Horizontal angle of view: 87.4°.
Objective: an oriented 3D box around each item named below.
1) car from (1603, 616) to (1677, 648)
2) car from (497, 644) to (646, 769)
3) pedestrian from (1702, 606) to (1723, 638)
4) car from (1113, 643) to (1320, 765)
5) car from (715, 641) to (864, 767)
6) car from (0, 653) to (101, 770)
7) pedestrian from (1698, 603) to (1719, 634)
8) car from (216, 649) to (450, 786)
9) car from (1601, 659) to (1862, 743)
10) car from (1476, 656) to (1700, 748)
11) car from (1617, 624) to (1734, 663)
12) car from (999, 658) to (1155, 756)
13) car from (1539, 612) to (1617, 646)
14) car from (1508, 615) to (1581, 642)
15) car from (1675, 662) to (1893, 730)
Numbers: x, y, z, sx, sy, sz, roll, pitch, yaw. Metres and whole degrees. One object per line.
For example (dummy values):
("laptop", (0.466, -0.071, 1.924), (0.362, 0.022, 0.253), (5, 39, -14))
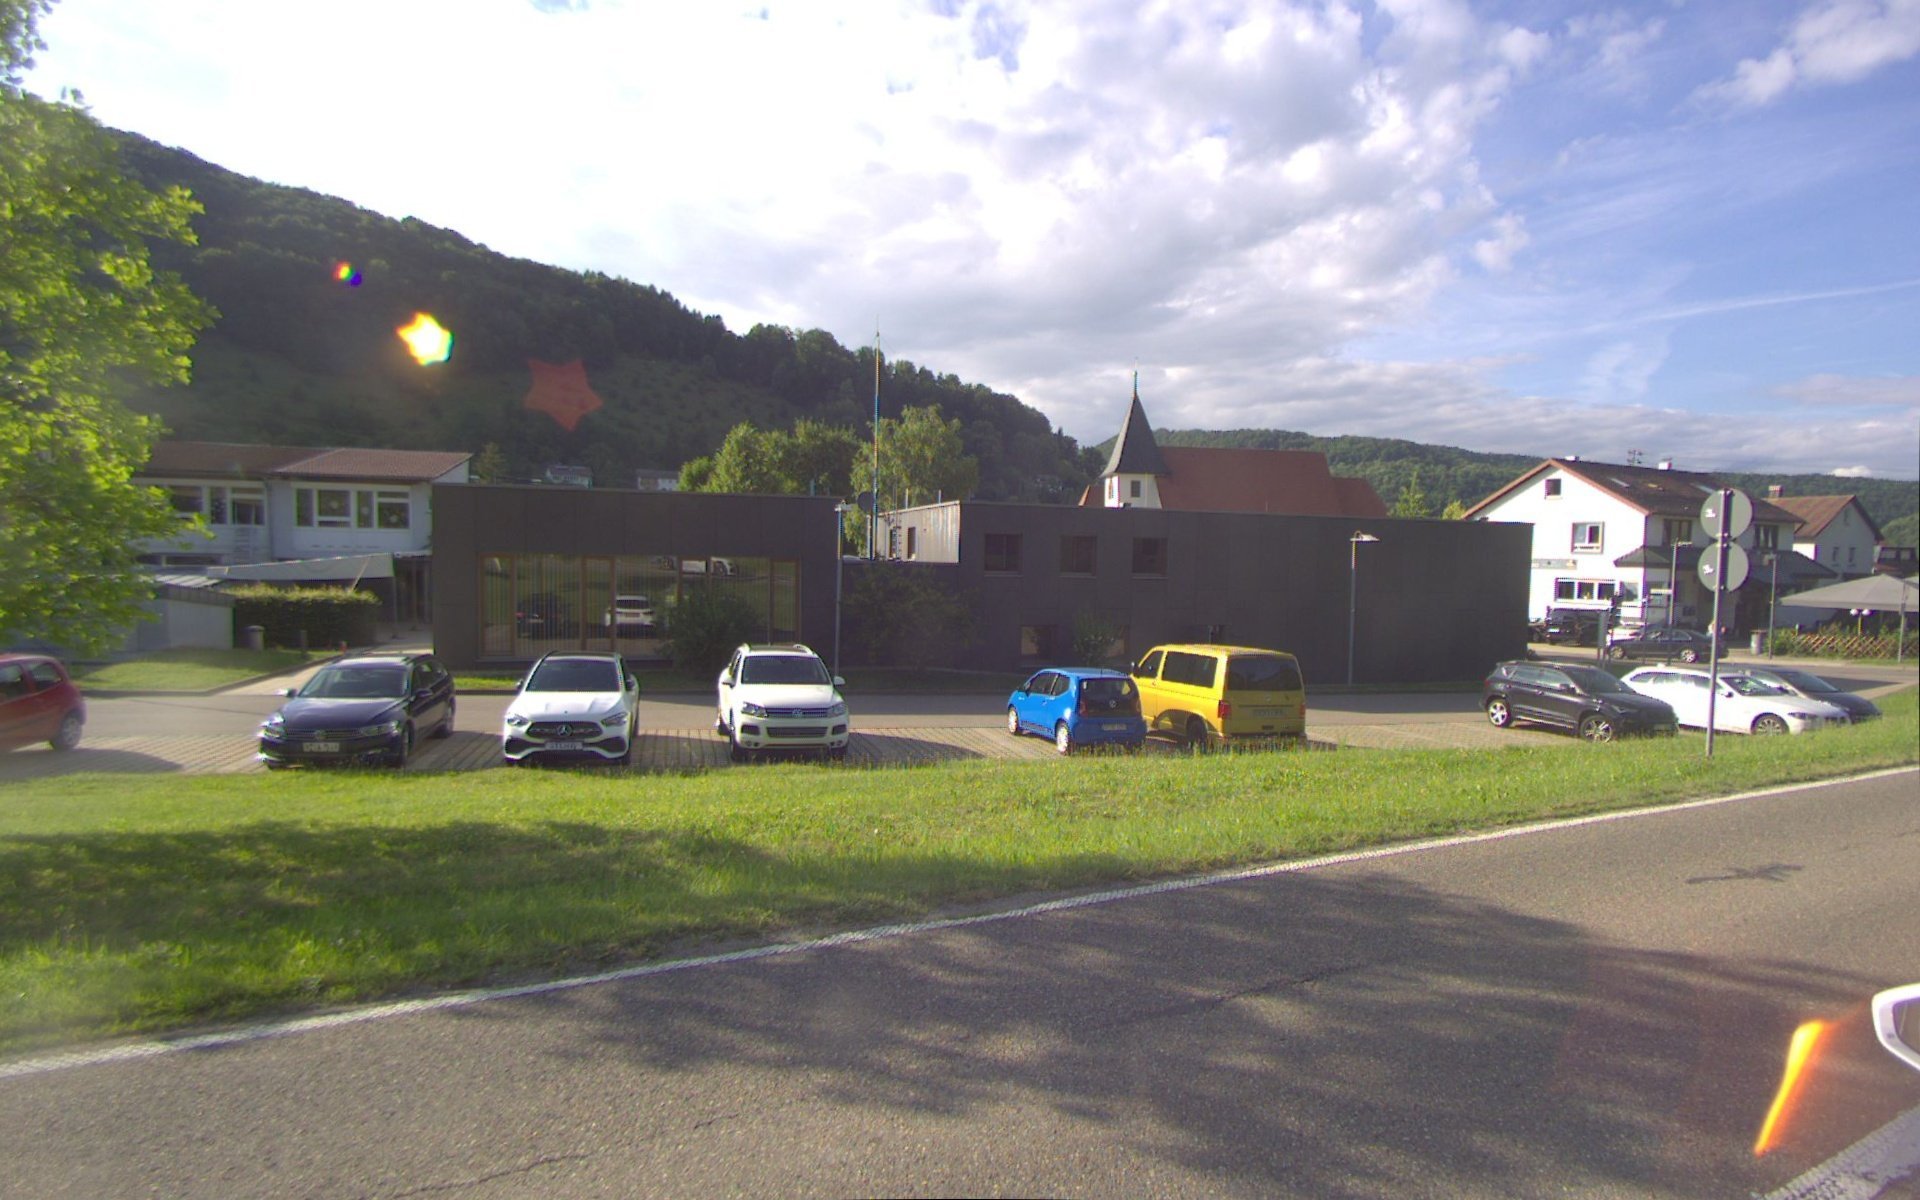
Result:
("car", (34.782, 1.649, 51.387), (3.953, 1.469, 1.548), (2, 0, -30))
("car", (-6.344, 1.662, 16.877), (1.968, 1.575, 4.536), (2, 0, -17))
("pedestrian", (37.270, 1.093, 49.740), (0.583, 1.523, 0.605), (2, 0, -29))
("car", (4.850, 1.914, 19.780), (1.966, 1.893, 4.612), (2, 0, -14))
("car", (-3.159, 1.710, 17.793), (1.968, 1.725, 4.536), (2, 0, -17))
("car", (-13.977, 1.569, 14.042), (1.590, 1.416, 3.719), (2, 0, -17))
("pedestrian", (37.712, 0.924, 50.599), (0.583, 1.523, 0.605), (2, 0, -29))
("car", (-9.562, 1.691, 15.774), (1.968, 1.575, 4.536), (2, 0, -17))
("car", (18.350, 2.352, 24.232), (1.851, 1.513, 4.811), (2, 0, -17))
("car", (14.205, 2.247, 23.018), (1.968, 1.659, 4.023), (2, 0, -17))
("car", (30.995, 1.841, 43.657), (1.885, 1.461, 3.994), (2, 0, -9))
("car", (2.162, 2.001, 19.507), (1.608, 1.492, 3.489), (2, 0, -19))
("car", (32.930, 1.539, 53.506), (3.953, 1.684, 1.878), (2, 0, -30))
("car", (32.618, 1.591, 56.053), (3.954, 1.372, 1.832), (2, 0, -31))
("car", (20.937, 2.395, 25.725), (1.735, 1.327, 3.980), (2, 0, -21))
